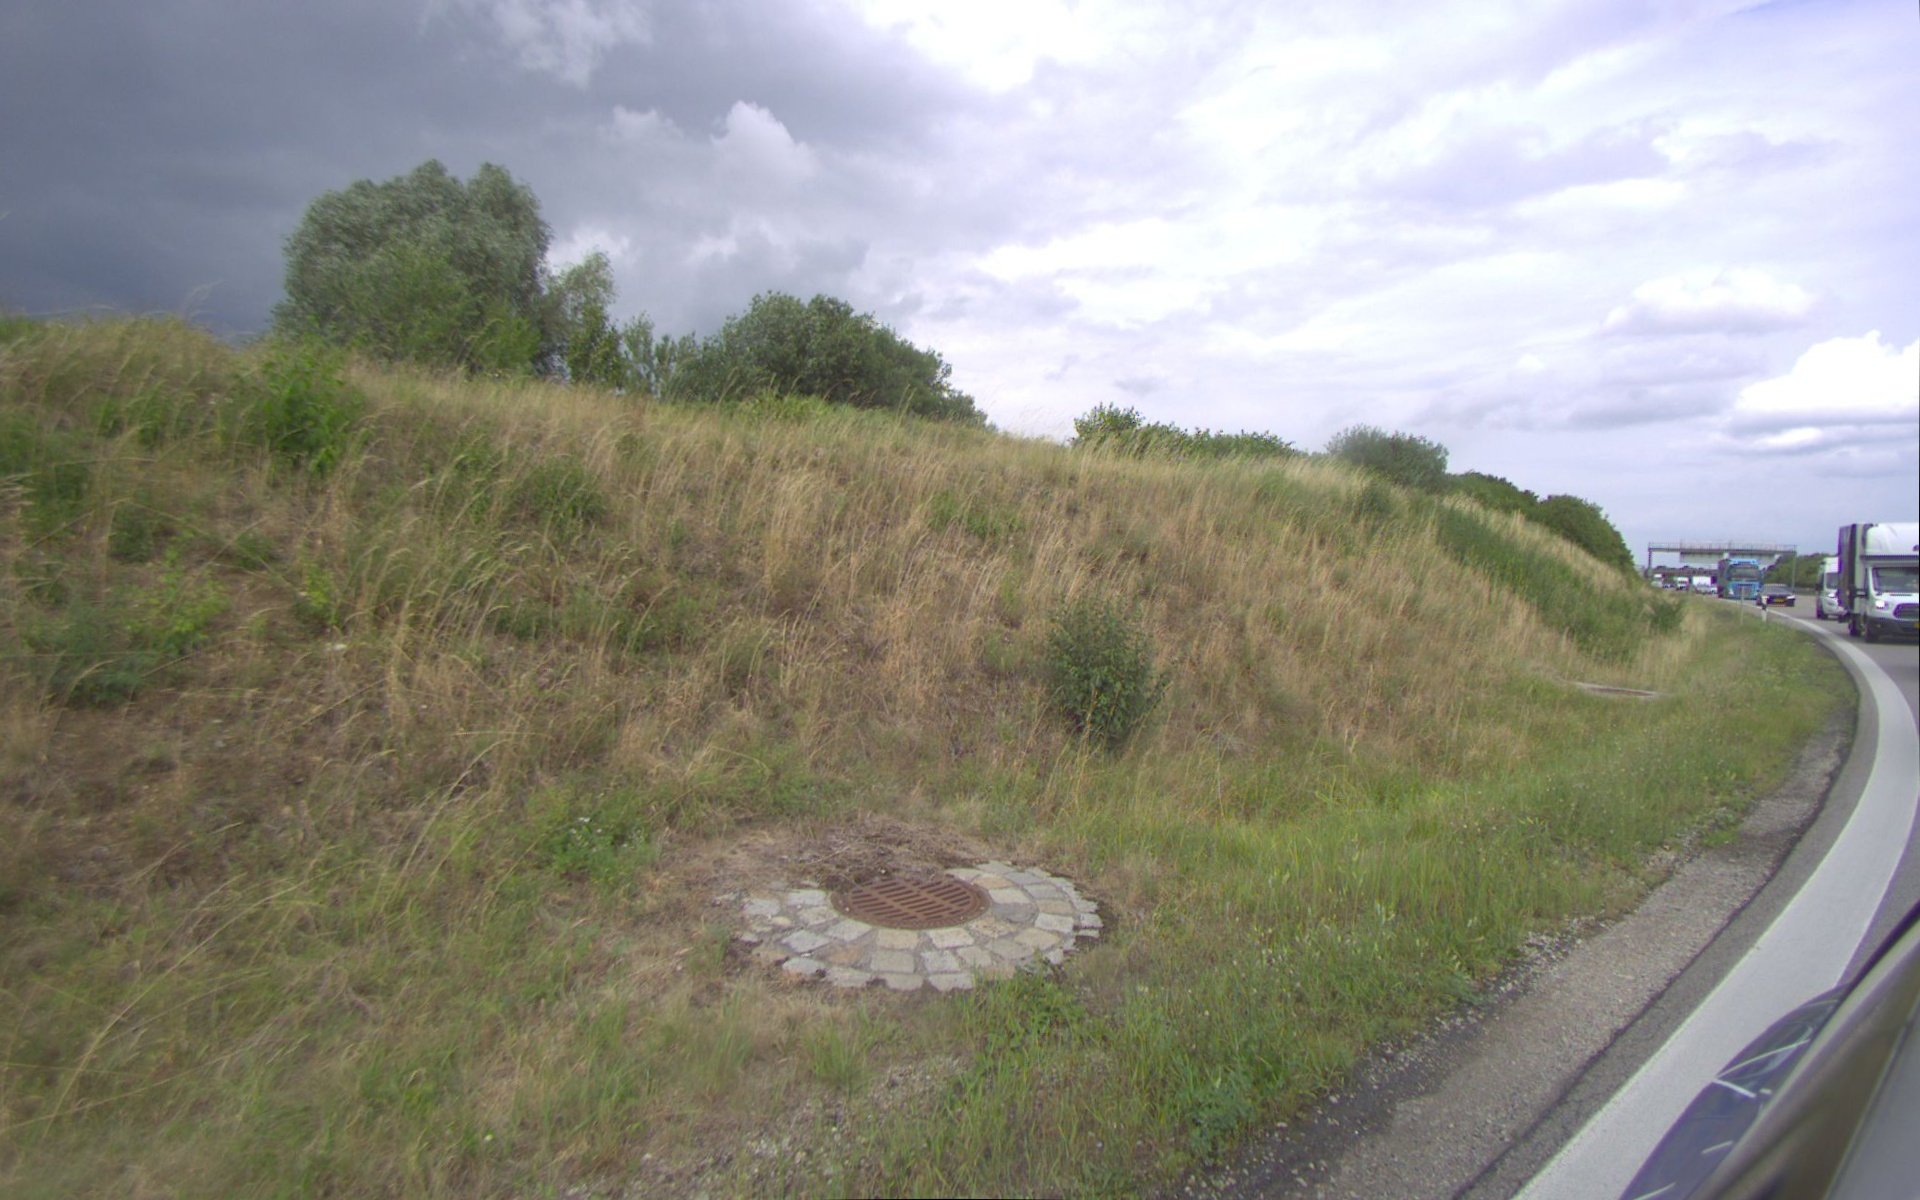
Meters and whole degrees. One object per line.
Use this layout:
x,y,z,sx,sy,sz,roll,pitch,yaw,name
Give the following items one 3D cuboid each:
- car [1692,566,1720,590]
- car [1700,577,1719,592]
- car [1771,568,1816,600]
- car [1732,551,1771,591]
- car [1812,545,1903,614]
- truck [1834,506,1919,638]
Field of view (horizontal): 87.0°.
108.896,-3.218,147.766,2.928,3.509,6.490,2,2,34,car
104.965,-2.214,141.756,1.919,2.057,3.950,2,2,35,car
55.939,-1.098,67.998,1.987,2.038,3.950,2,2,35,car
77.537,-2.830,99.226,2.489,3.756,7.607,2,2,34,car
38.843,-0.914,43.974,2.008,2.779,6.844,1,2,34,car
26.068,-0.752,27.747,2.435,3.275,7.101,1,2,35,truck
